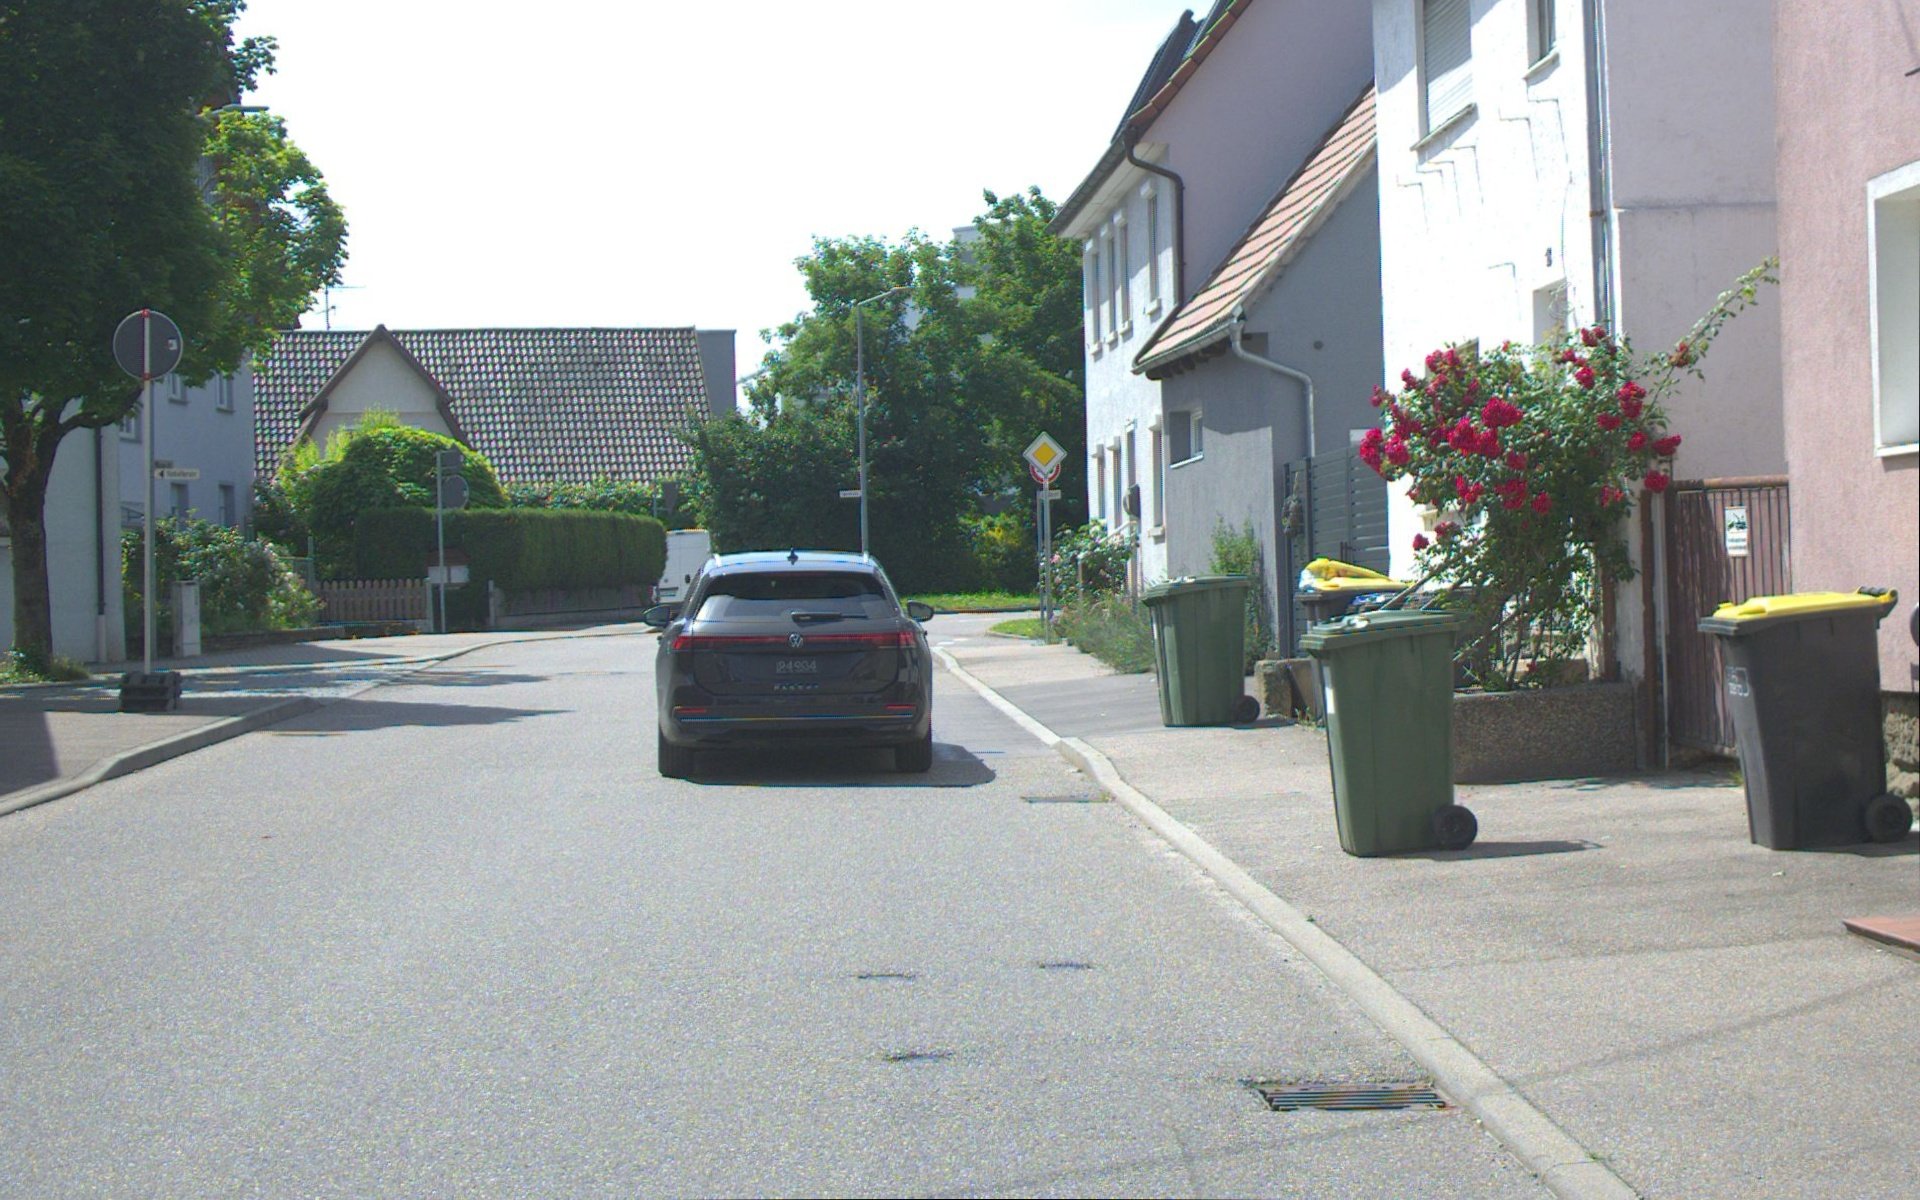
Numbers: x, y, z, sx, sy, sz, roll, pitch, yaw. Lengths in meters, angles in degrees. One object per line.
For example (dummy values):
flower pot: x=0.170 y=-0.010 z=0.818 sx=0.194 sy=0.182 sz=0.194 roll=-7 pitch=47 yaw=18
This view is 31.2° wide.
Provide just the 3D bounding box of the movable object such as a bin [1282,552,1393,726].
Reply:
movable object such as a bin: x=2.661 y=0.266 z=24.283 sx=0.665 sy=1.190 sz=0.660 roll=-1 pitch=1 yaw=-3

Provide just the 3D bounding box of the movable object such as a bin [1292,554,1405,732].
movable object such as a bin: x=2.663 y=0.285 z=23.578 sx=0.665 sy=1.190 sz=0.588 roll=-1 pitch=1 yaw=-3

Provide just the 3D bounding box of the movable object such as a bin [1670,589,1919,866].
movable object such as a bin: x=3.468 y=0.513 z=14.327 sx=0.678 sy=1.046 sz=0.835 roll=-6 pitch=1 yaw=-7

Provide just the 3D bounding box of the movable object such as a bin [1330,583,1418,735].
movable object such as a bin: x=2.769 y=0.392 z=23.040 sx=0.503 sy=0.990 sz=0.442 roll=-1 pitch=1 yaw=-3

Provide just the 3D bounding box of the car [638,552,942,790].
car: x=-1.123 y=0.401 z=23.334 sx=1.841 sy=1.415 sz=4.683 roll=-1 pitch=1 yaw=-2

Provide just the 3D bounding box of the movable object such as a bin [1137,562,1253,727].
movable object such as a bin: x=1.677 y=0.306 z=24.638 sx=0.678 sy=1.151 sz=0.820 roll=-1 pitch=1 yaw=-7

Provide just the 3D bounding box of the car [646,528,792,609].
car: x=-6.280 y=-0.856 z=90.247 sx=2.129 sy=2.007 sz=4.934 roll=-1 pitch=1 yaw=18

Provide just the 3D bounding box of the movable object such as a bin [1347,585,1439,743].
movable object such as a bin: x=2.800 y=0.409 z=22.249 sx=0.503 sy=0.990 sz=0.442 roll=-1 pitch=1 yaw=-3

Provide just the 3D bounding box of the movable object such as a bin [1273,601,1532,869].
movable object such as a bin: x=1.976 y=0.588 z=15.458 sx=0.875 sy=1.071 sz=0.873 roll=-6 pitch=1 yaw=-7

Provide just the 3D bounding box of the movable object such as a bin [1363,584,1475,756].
movable object such as a bin: x=2.850 y=0.426 z=21.375 sx=0.592 sy=1.036 sz=0.530 roll=-1 pitch=1 yaw=-3
